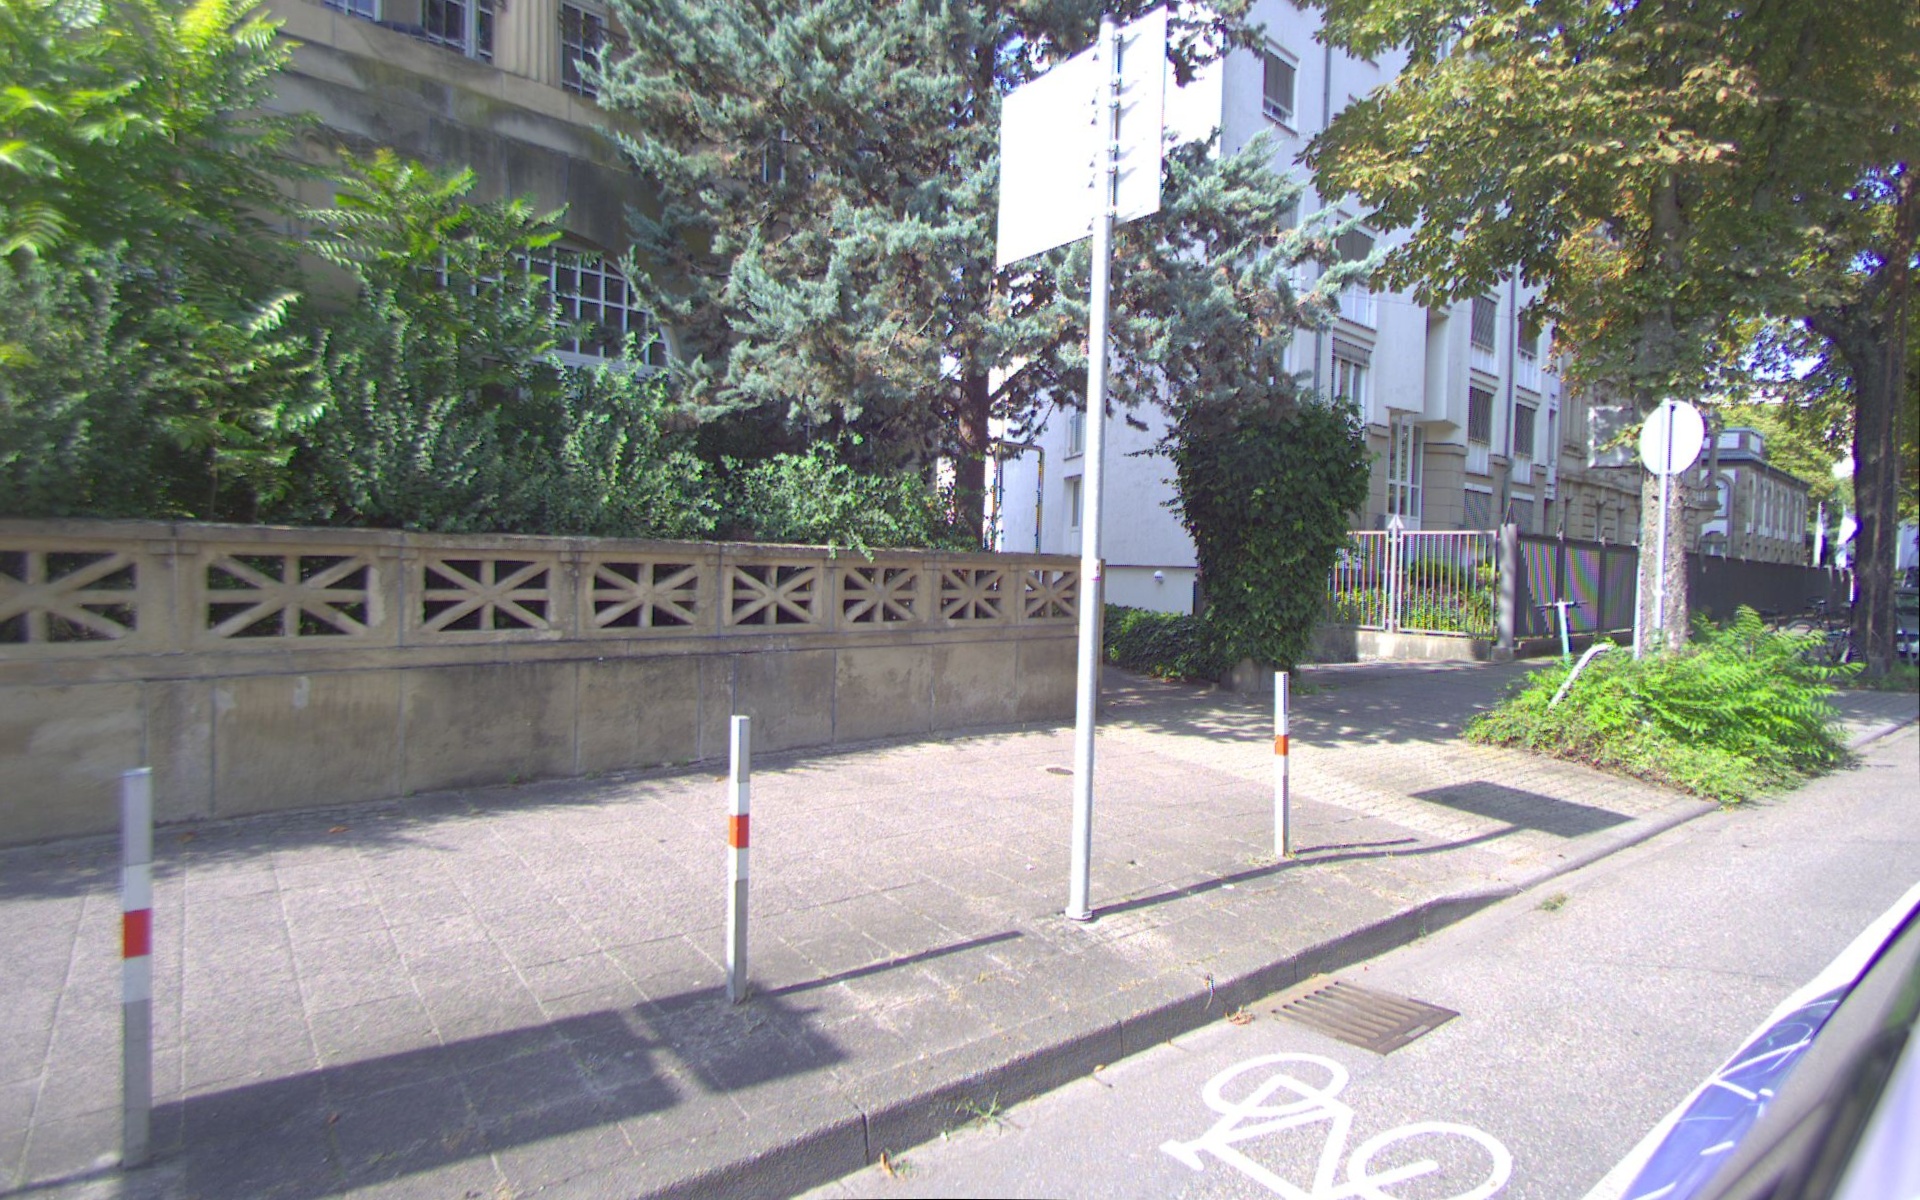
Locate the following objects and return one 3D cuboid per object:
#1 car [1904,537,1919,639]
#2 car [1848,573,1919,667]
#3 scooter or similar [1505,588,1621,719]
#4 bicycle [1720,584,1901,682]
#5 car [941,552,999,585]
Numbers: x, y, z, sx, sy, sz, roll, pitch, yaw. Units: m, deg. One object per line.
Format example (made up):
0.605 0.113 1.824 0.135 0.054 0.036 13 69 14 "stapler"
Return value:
26.542 -0.267 26.472 6.122 2.529 2.050 0 3 -42 "car"
17.947 0.347 18.774 4.282 1.541 1.610 -1 6 -42 "car"
6.059 0.507 10.165 1.015 1.211 0.560 0 5 -36 "scooter or similar"
11.901 0.442 14.214 1.812 1.179 0.504 4 8 9 "bicycle"
0.444 -1.641 51.334 1.797 1.585 4.010 1 2 -17 "car"
